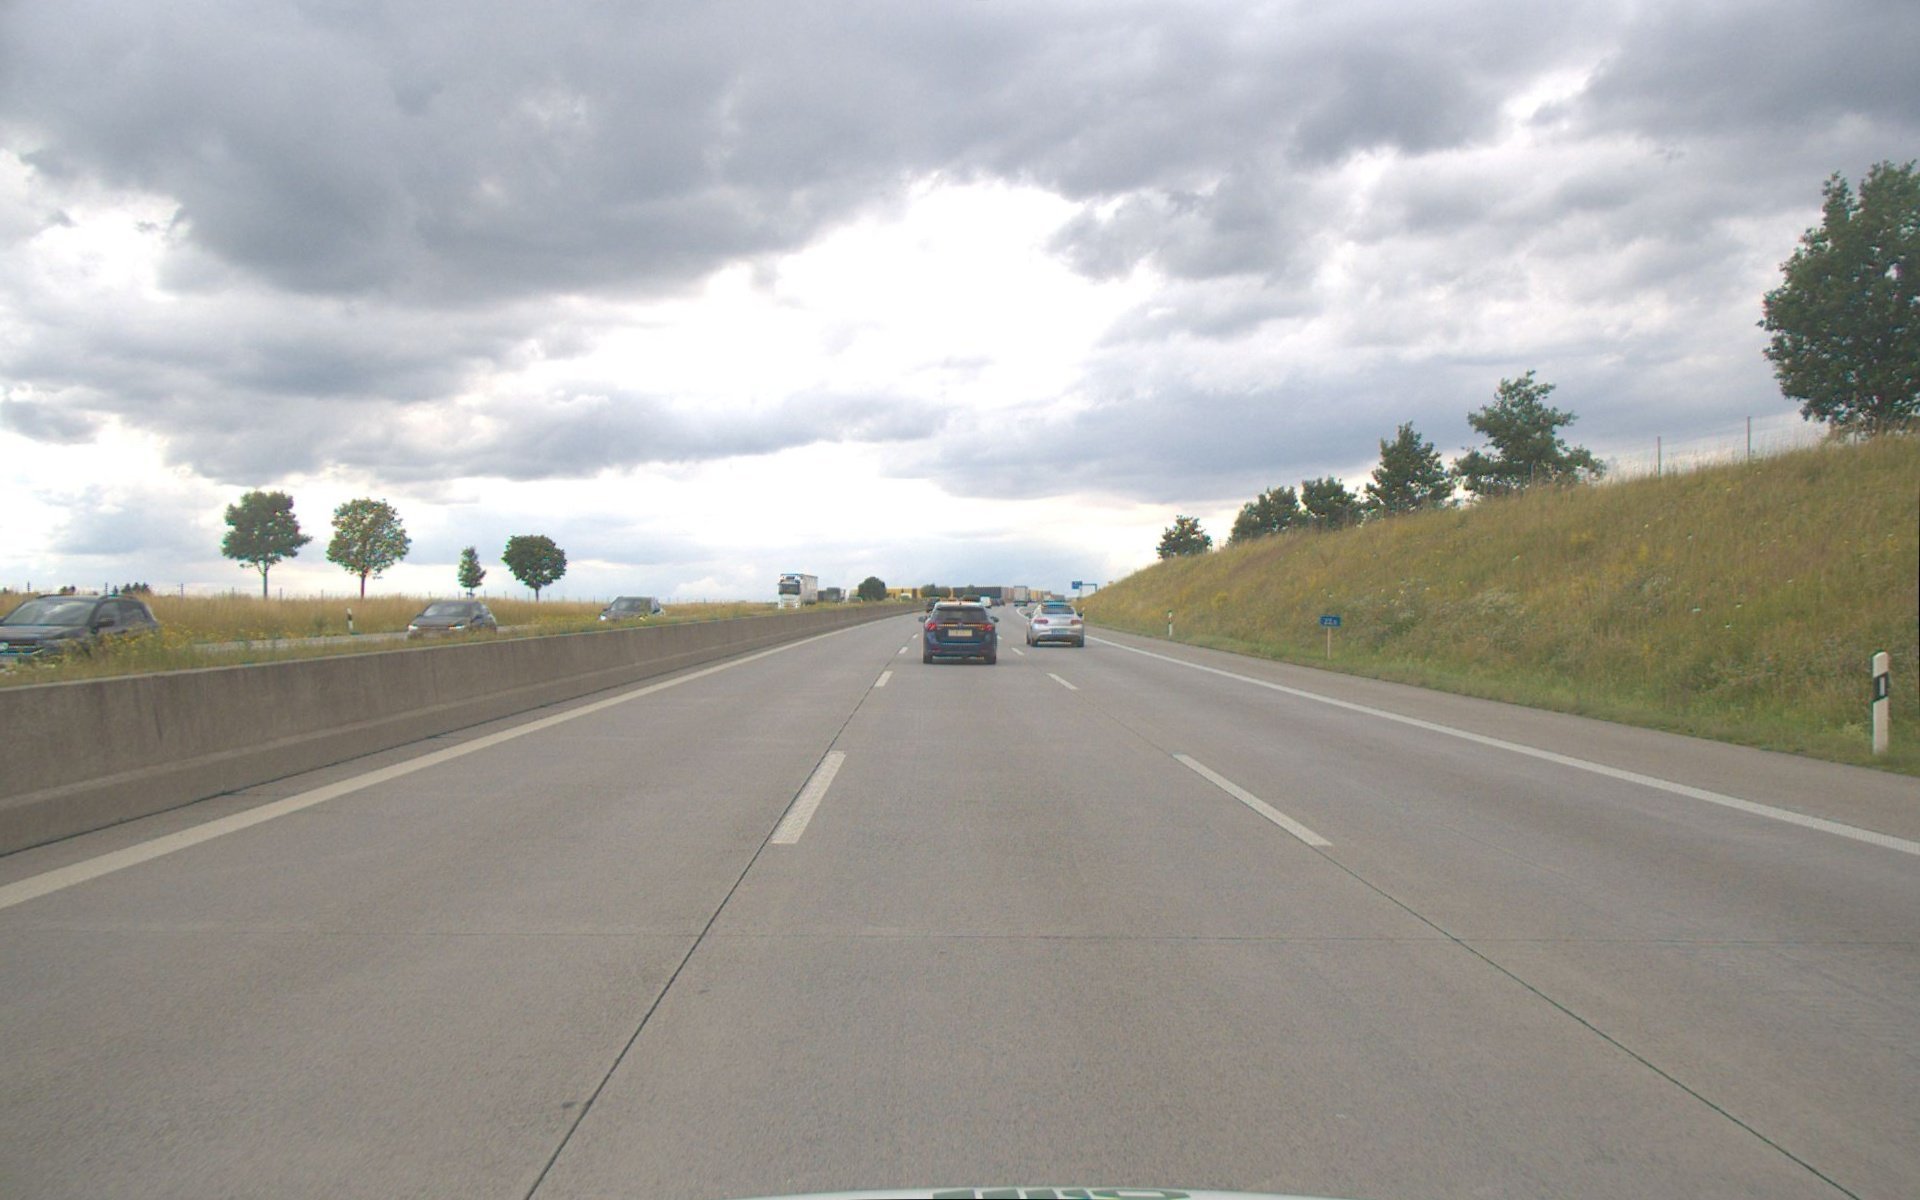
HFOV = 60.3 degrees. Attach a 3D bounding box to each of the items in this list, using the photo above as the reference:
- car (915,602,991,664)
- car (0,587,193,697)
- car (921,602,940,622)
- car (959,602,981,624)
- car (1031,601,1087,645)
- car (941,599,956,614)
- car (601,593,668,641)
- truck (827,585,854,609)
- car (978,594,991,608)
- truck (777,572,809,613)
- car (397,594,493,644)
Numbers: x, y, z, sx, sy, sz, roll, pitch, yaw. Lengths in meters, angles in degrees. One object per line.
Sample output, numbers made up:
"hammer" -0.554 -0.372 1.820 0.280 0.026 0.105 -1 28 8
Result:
"car" -0.152 0.778 40.079 1.738 1.438 4.000 0 0 0
"car" -14.791 0.646 27.776 1.953 1.713 4.062 0 0 -1
"car" -3.164 1.308 177.450 2.005 2.049 3.999 1 -1 -1
"car" 0.946 1.294 158.837 1.953 2.049 3.998 1 -1 -2
"car" 3.290 0.757 55.616 1.751 1.428 4.222 0 0 2
"car" -1.657 0.890 233.680 1.954 2.049 3.998 1 -1 -3
"car" -11.581 0.577 59.073 1.655 1.638 3.999 0 0 -1
"truck" -13.855 -0.328 192.622 2.562 2.773 6.920 1 0 1
"car" 3.769 0.147 255.157 1.952 2.049 4.001 1 -1 2
"truck" -18.017 -0.773 178.573 2.782 4.330 6.091 1 -1 0
"car" -15.266 0.536 49.215 1.628 1.423 3.999 0 0 -1
